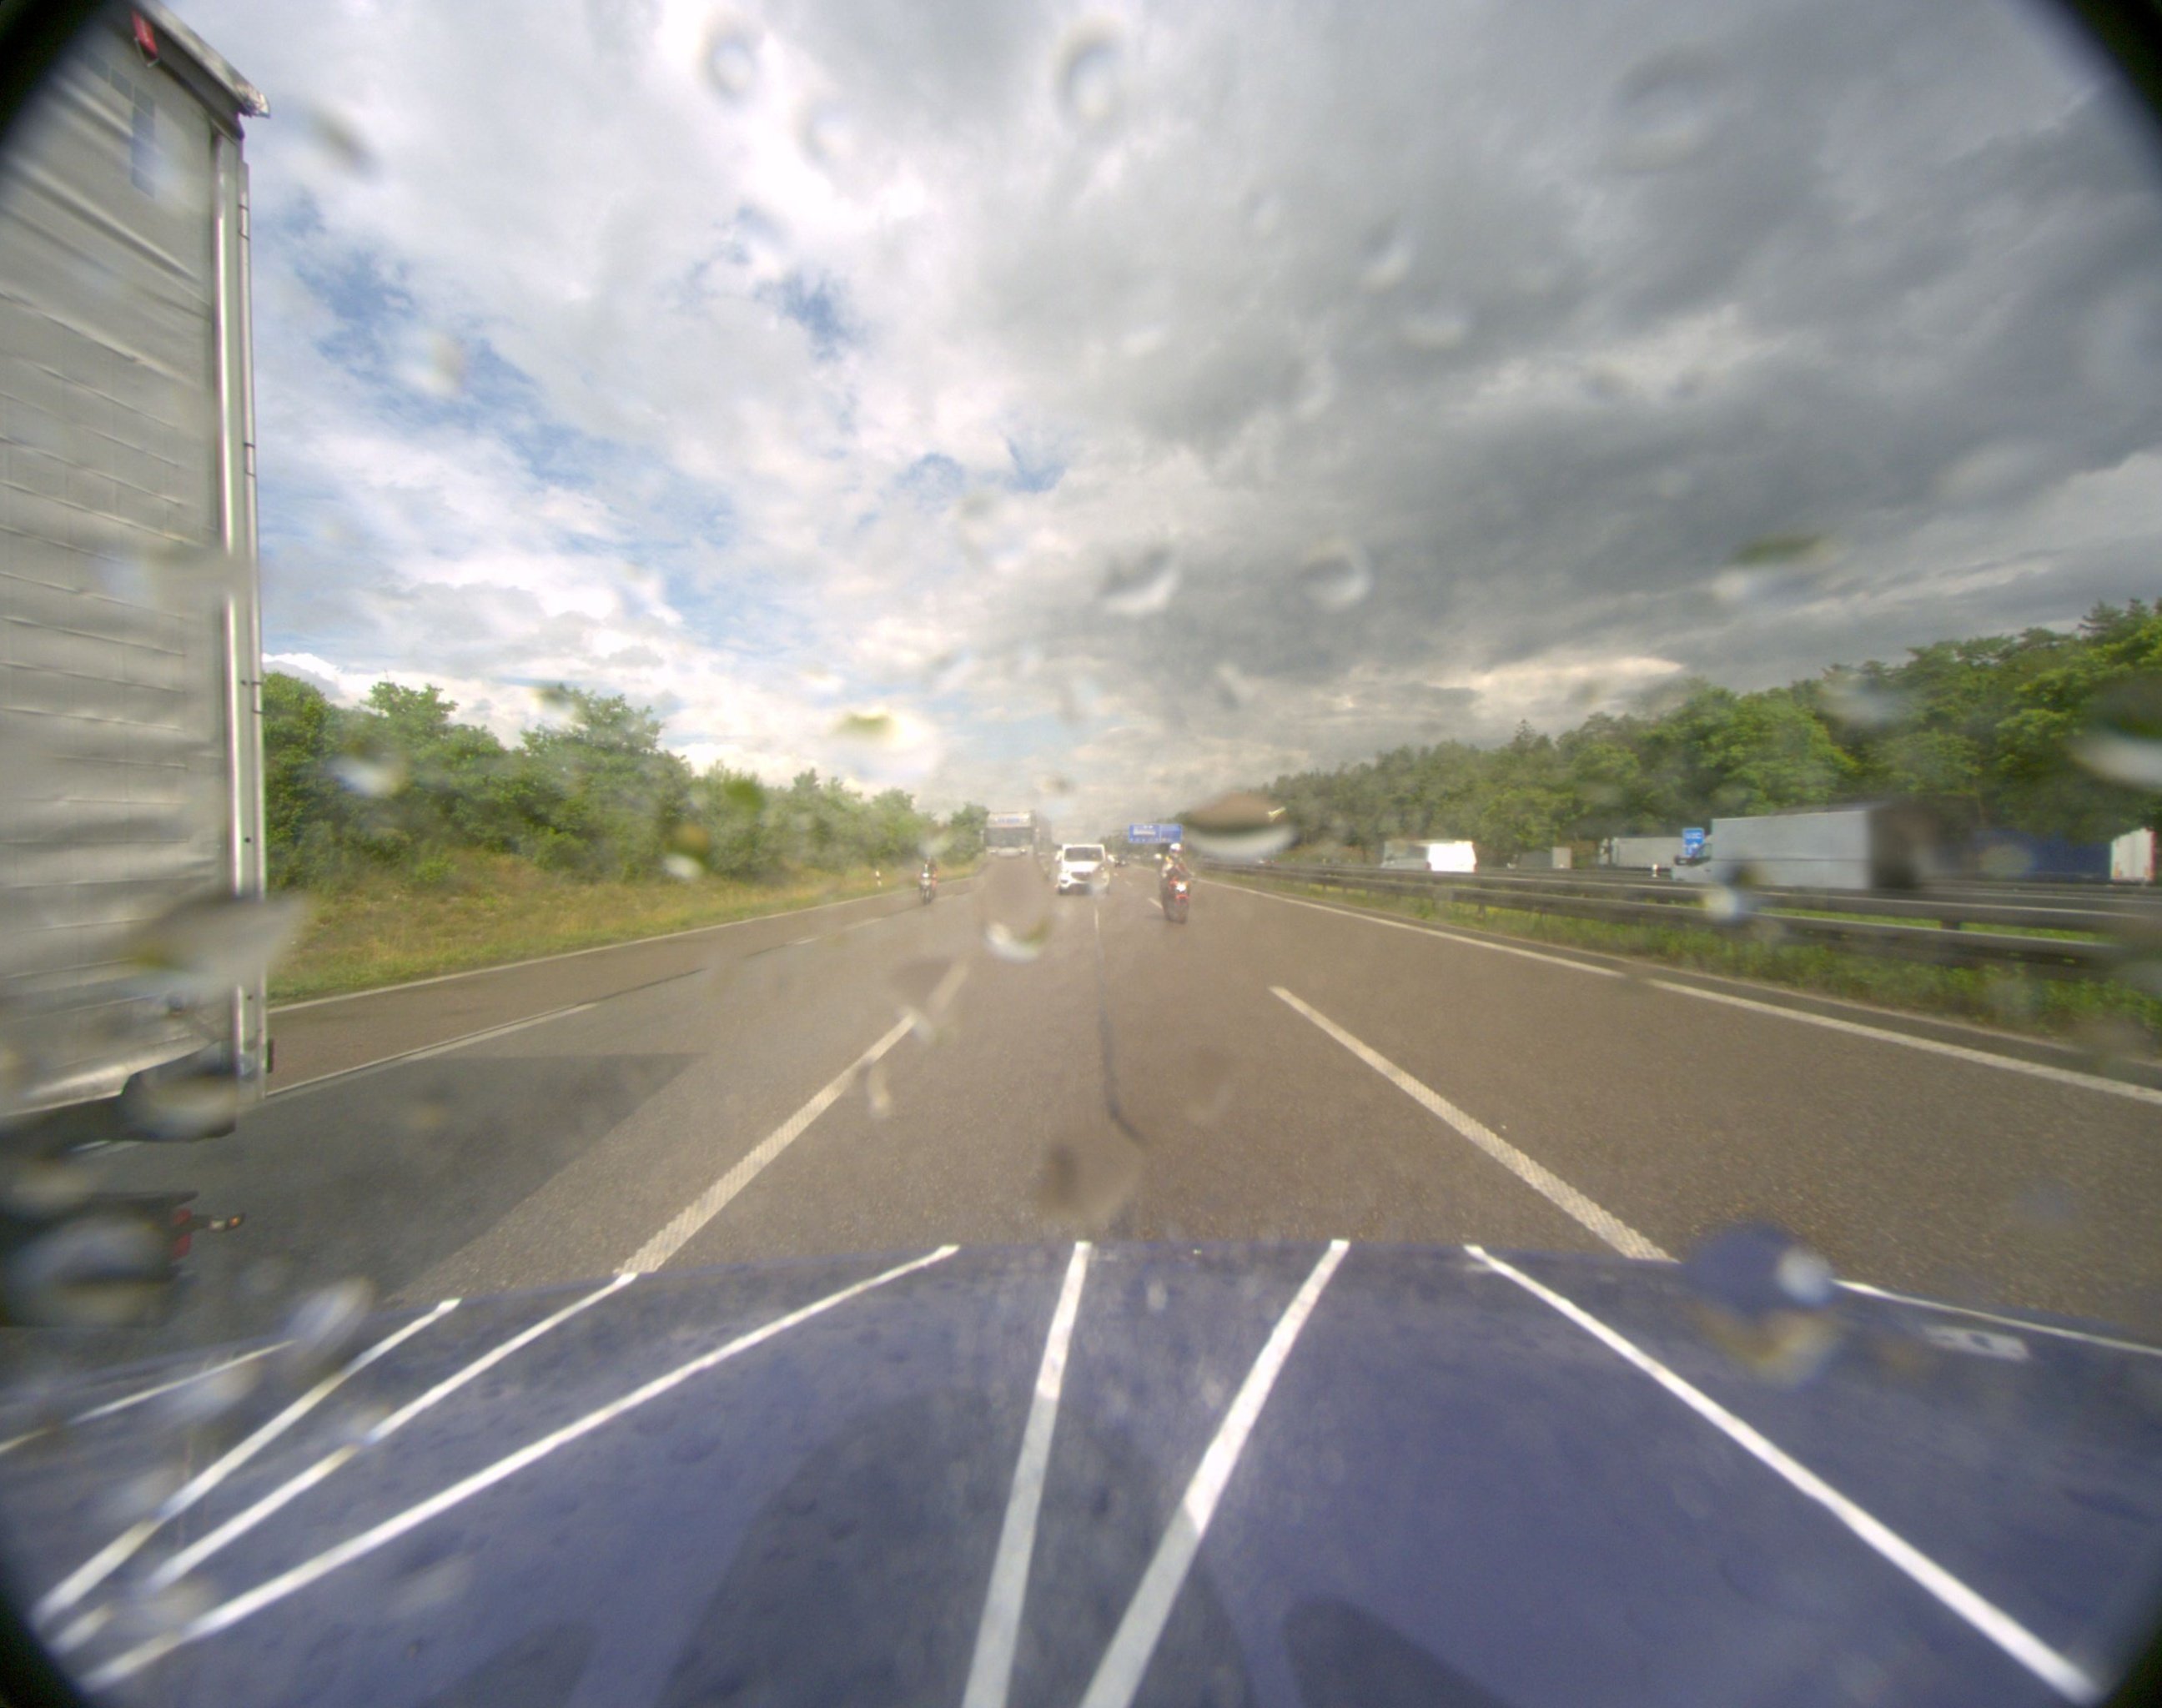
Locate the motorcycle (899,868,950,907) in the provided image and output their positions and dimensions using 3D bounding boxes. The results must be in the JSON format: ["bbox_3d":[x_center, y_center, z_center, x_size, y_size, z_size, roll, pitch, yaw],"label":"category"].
[{"bbox_3d":[-5.467,1.134,26.786,1.188,1.142,3.193,-2,1,-2],"label":"motorcycle"}]

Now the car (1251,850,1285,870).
[{"bbox_3d":[18.875,0.570,77.026,2.306,1.880,4.778,-2,1,1],"label":"car"}]

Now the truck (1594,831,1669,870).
[{"bbox_3d":[49.823,-0.332,68.880,2.663,3.249,5.081,-2,1,-10],"label":"truck"}]

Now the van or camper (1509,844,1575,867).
[{"bbox_3d":[48.233,0.094,79.721,2.125,2.252,6.316,-2,1,-12],"label":"van or camper"}]

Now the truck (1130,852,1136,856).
[{"bbox_3d":[18.142,0.106,265.914,1.893,1.187,3.999,-2,1,0],"label":"truck"}]

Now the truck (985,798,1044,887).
[{"bbox_3d":[-3.393,-0.606,40.338,2.650,4.250,6.882,-2,1,-2],"label":"truck"}]

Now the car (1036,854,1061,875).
[{"bbox_3d":[-3.404,1.050,80.572,2.350,2.033,5.142,-2,1,1],"label":"car"}]

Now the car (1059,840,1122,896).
[{"bbox_3d":[0.386,0.510,31.394,2.350,2.033,5.142,-2,1,1],"label":"car"}]

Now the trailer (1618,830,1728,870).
[{"bbox_3d":[50.506,-0.323,65.133,2.588,3.214,7.734,-1,1,-9],"label":"trailer"}]

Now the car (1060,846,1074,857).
[{"bbox_3d":[-2.616,-0.512,143.702,2.350,2.033,5.142,-2,1,1],"label":"car"}]

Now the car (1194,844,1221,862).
[{"bbox_3d":[14.441,-0.166,86.973,2.306,1.880,4.778,-2,1,1],"label":"car"}]

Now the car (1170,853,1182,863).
[{"bbox_3d":[18.911,0.830,151.397,1.835,1.880,4.778,-2,1,1],"label":"car"}]

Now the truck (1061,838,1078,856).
[{"bbox_3d":[-2.506,-1.542,166.808,3.217,3.607,10.153,-2,1,1],"label":"truck"}]

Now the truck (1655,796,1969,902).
[{"bbox_3d":[21.721,-0.164,23.356,2.849,2.666,7.191,-2,1,1],"label":"truck"}]

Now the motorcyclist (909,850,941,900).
[{"bbox_3d":[-5.433,0.710,26.561,0.883,1.696,1.000,-2,1,-2],"label":"motorcyclist"}]

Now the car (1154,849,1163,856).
[{"bbox_3d":[21.583,-0.427,211.920,1.835,2.033,4.778,-2,1,1],"label":"car"}]

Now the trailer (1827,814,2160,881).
[{"bbox_3d":[53.123,-0.371,45.437,2.831,3.385,13.418,-1,0,-6],"label":"trailer"}]

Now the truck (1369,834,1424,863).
[{"bbox_3d":[42.422,-0.769,102.408,3.219,3.683,6.908,-2,1,-13],"label":"truck"}]

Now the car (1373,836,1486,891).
[{"bbox_3d":[13.521,0.313,29.902,2.051,1.880,5.259,-2,1,1],"label":"car"}]

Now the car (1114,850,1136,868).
[{"bbox_3d":[5.412,0.581,93.700,2.350,2.033,5.142,-2,1,1],"label":"car"}]

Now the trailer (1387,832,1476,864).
[{"bbox_3d":[43.959,-0.728,96.008,3.216,3.717,12.554,-1,0,-13],"label":"trailer"}]

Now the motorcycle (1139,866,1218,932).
[{"bbox_3d":[2.092,0.934,16.922,1.188,1.219,3.193,-2,1,-2],"label":"motorcycle"}]

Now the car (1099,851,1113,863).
[{"bbox_3d":[4.605,0.507,138.673,2.350,2.033,5.142,-2,1,1],"label":"car"}]

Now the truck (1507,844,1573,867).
[{"bbox_3d":[48.083,0.097,79.846,2.125,2.252,6.311,-2,1,-12],"label":"truck"}]

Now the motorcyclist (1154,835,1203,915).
[{"bbox_3d":[2.154,0.453,16.835,0.883,1.696,1.000,-2,1,-2],"label":"motorcyclist"}]
